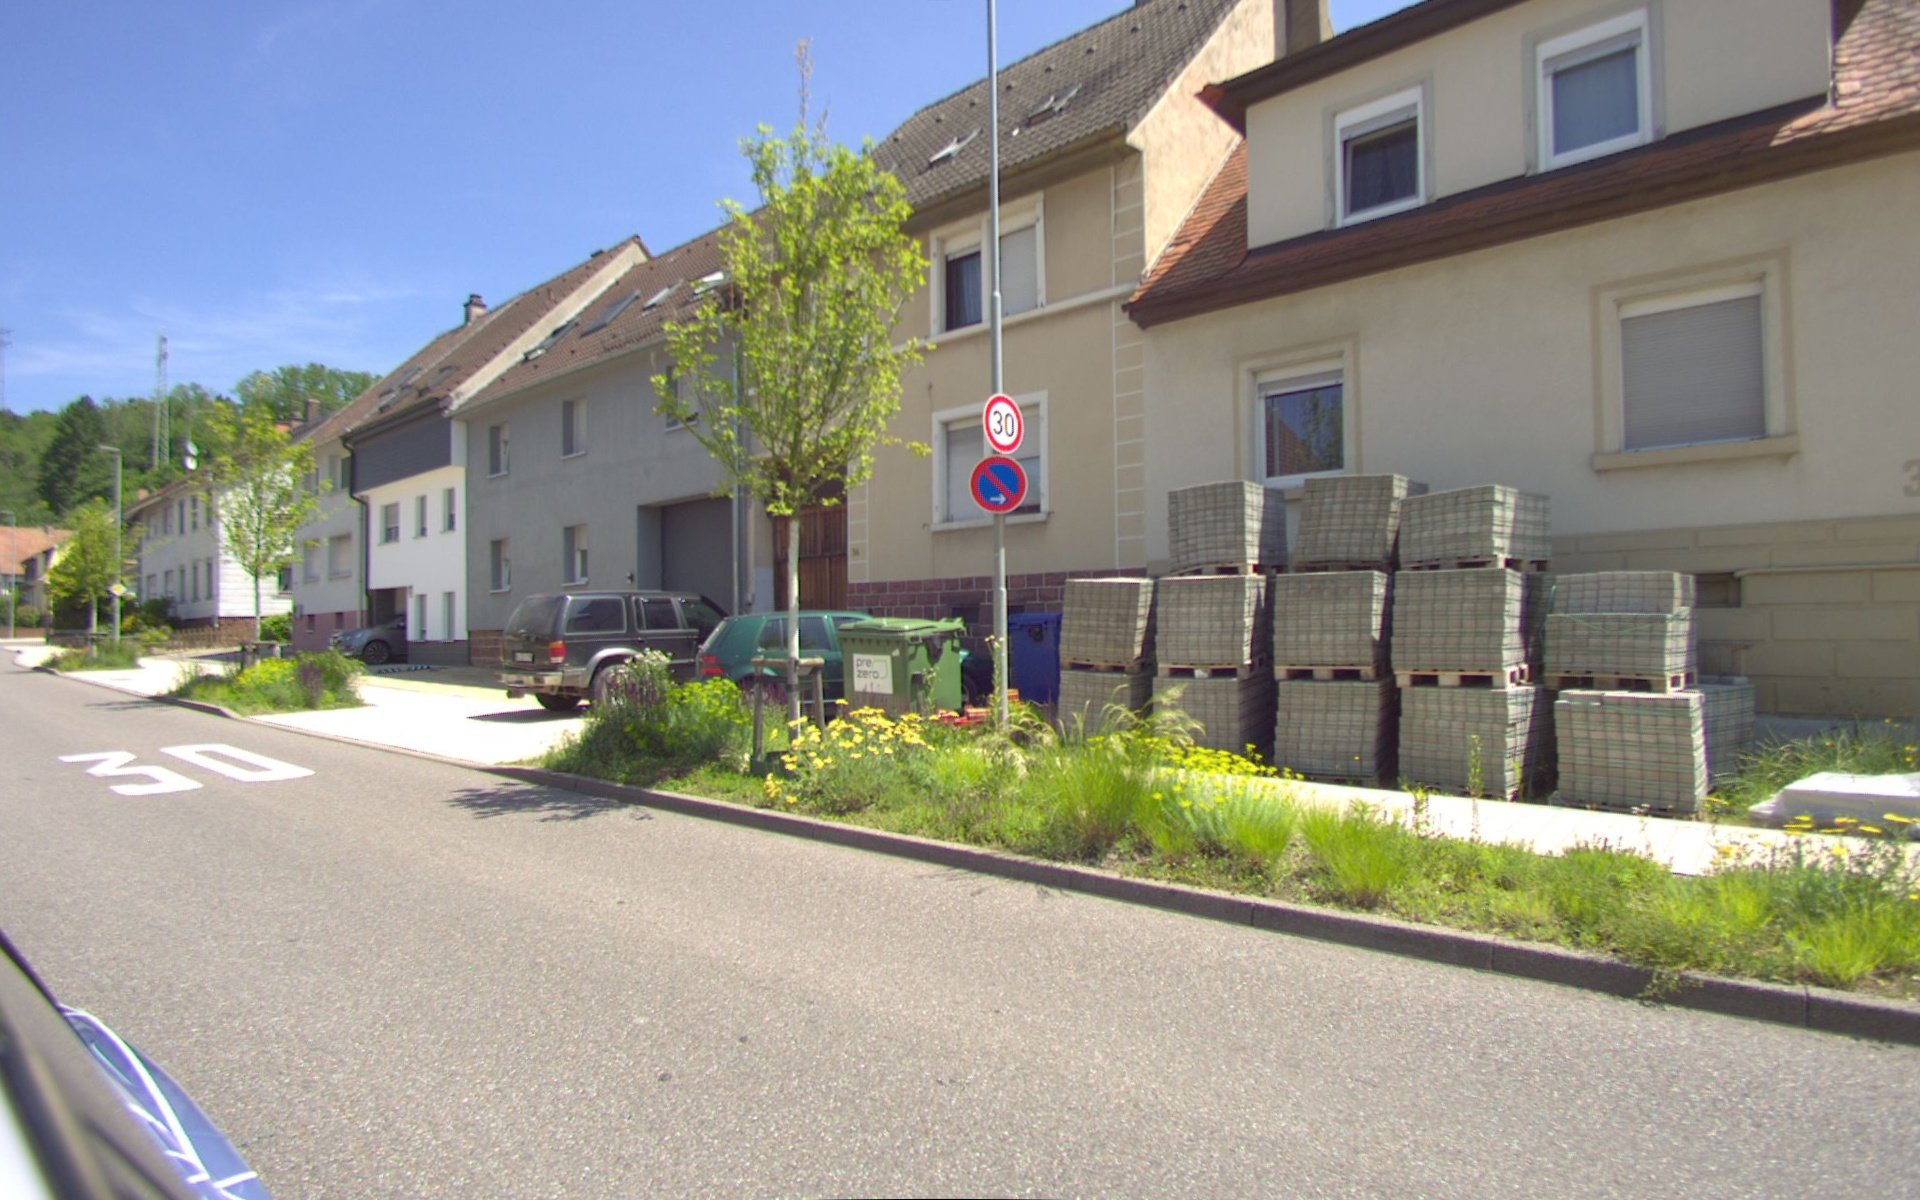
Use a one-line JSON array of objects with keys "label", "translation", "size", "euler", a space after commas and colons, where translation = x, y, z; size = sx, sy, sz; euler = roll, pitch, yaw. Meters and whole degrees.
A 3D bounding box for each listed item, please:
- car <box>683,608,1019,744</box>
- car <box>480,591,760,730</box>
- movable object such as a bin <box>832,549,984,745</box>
[{"label": "car", "translation": [-1.405, 0.889, 12.936], "size": [3.985, 1.511, 1.707], "euler": [-1, 0, -11]}, {"label": "car", "translation": [-5.004, 0.790, 15.208], "size": [1.847, 1.804, 3.561], "euler": [-1, 0, 39]}, {"label": "movable object such as a bin", "translation": [-0.583, 0.485, 11.318], "size": [1.322, 2.029, 1.048], "euler": [-1, 0, 41]}]
